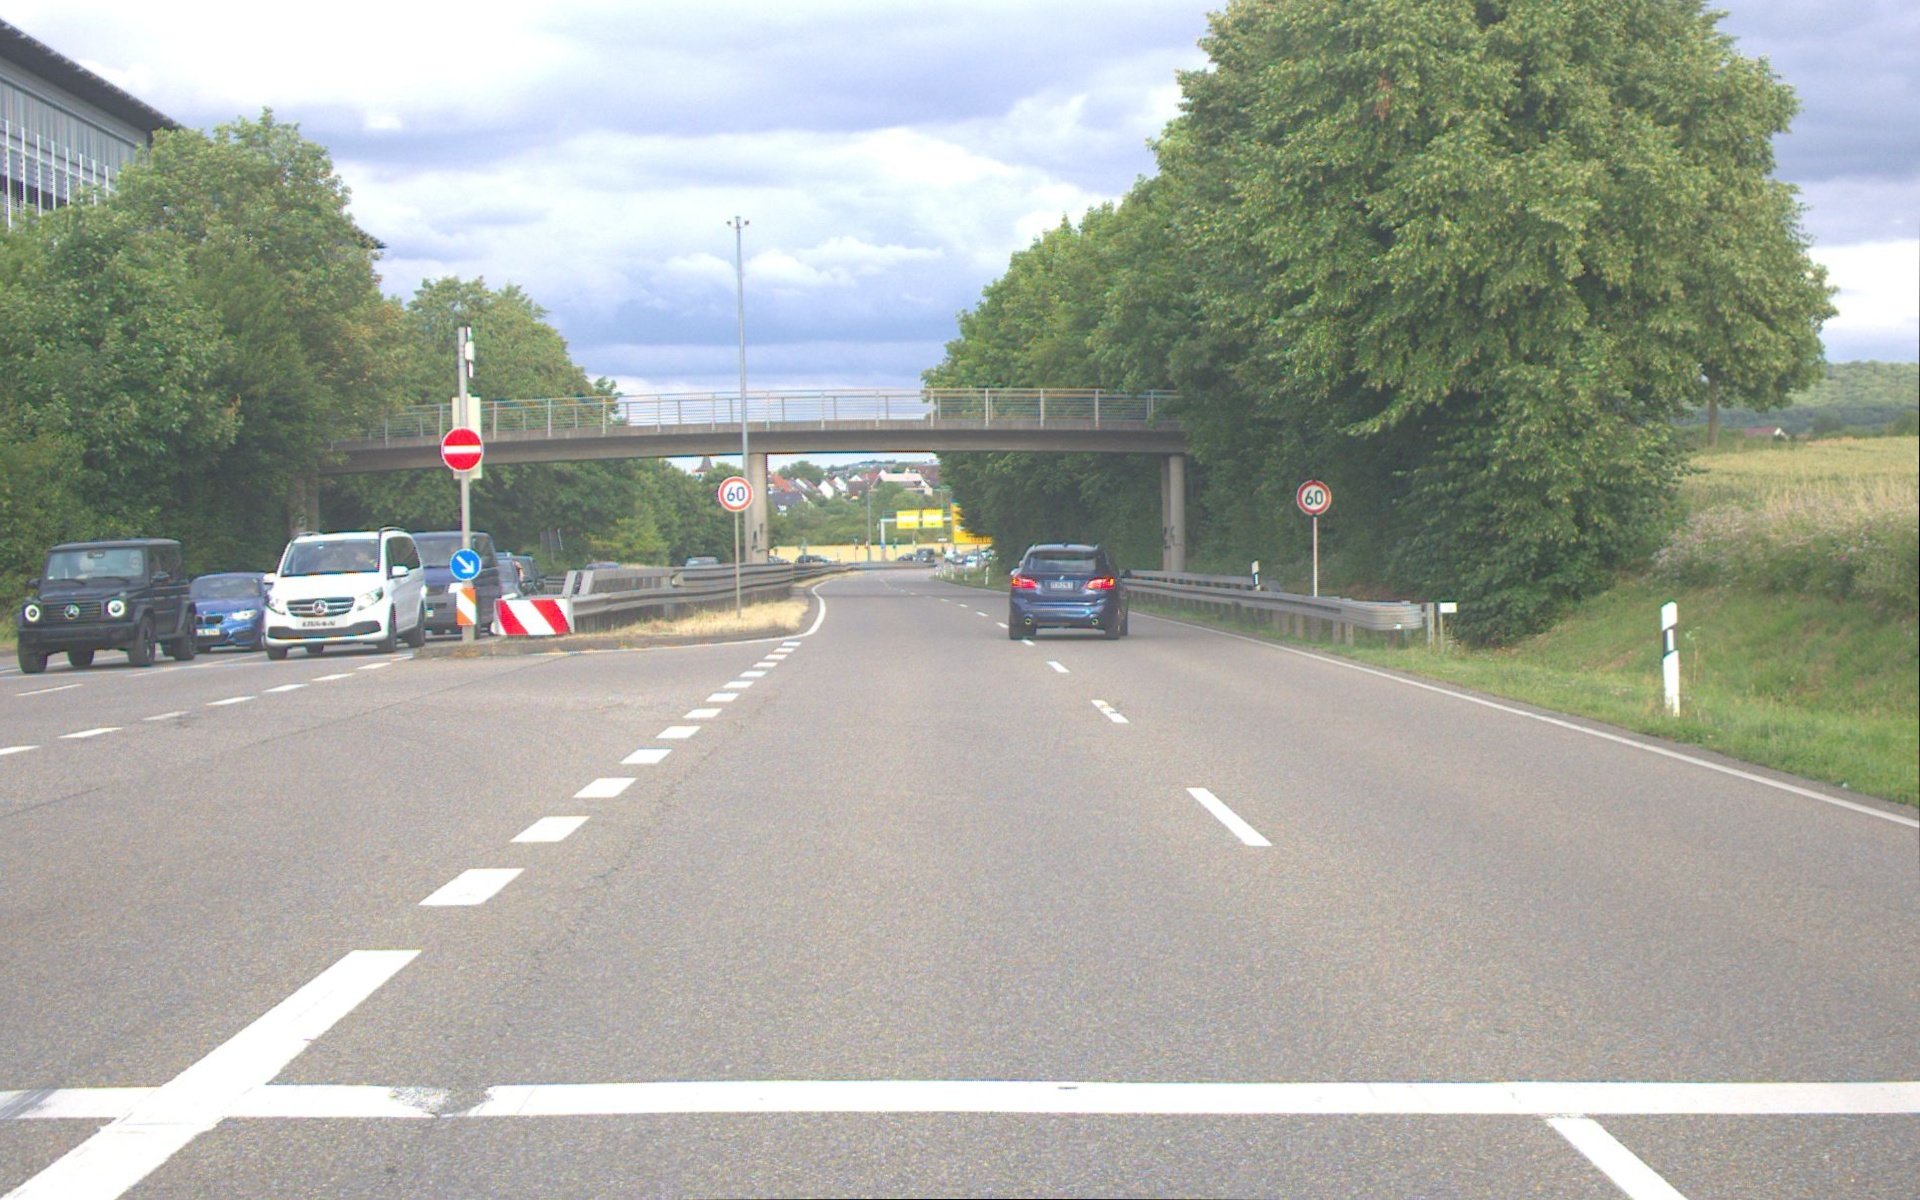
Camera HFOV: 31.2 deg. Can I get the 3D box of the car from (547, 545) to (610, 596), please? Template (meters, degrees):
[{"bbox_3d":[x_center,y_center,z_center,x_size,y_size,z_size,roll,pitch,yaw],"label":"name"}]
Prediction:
[{"bbox_3d":[-15.412,-1.195,139.108,2.083,2.007,5.217,1,1,-2],"label":"car"}]

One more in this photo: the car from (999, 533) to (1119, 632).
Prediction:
[{"bbox_3d":[1.644,-0.305,56.610,1.880,1.547,4.000,1,1,2],"label":"car"}]

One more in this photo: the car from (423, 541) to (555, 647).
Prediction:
[{"bbox_3d":[-9.398,-0.148,68.940,2.083,2.007,5.217,1,1,-2],"label":"car"}]

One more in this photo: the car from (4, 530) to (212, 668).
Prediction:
[{"bbox_3d":[-13.183,-0.041,53.525,2.083,2.007,5.217,1,1,-2],"label":"car"}]

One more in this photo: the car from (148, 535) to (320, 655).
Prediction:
[{"bbox_3d":[-12.818,-0.114,61.026,2.083,2.007,5.217,1,1,-2],"label":"car"}]

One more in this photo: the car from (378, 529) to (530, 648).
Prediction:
[{"bbox_3d":[-8.974,-0.230,61.373,2.083,2.007,5.217,1,1,-2],"label":"car"}]

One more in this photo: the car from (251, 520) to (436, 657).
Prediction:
[{"bbox_3d":[-9.550,-0.200,53.636,2.083,2.007,5.217,1,1,-2],"label":"car"}]
